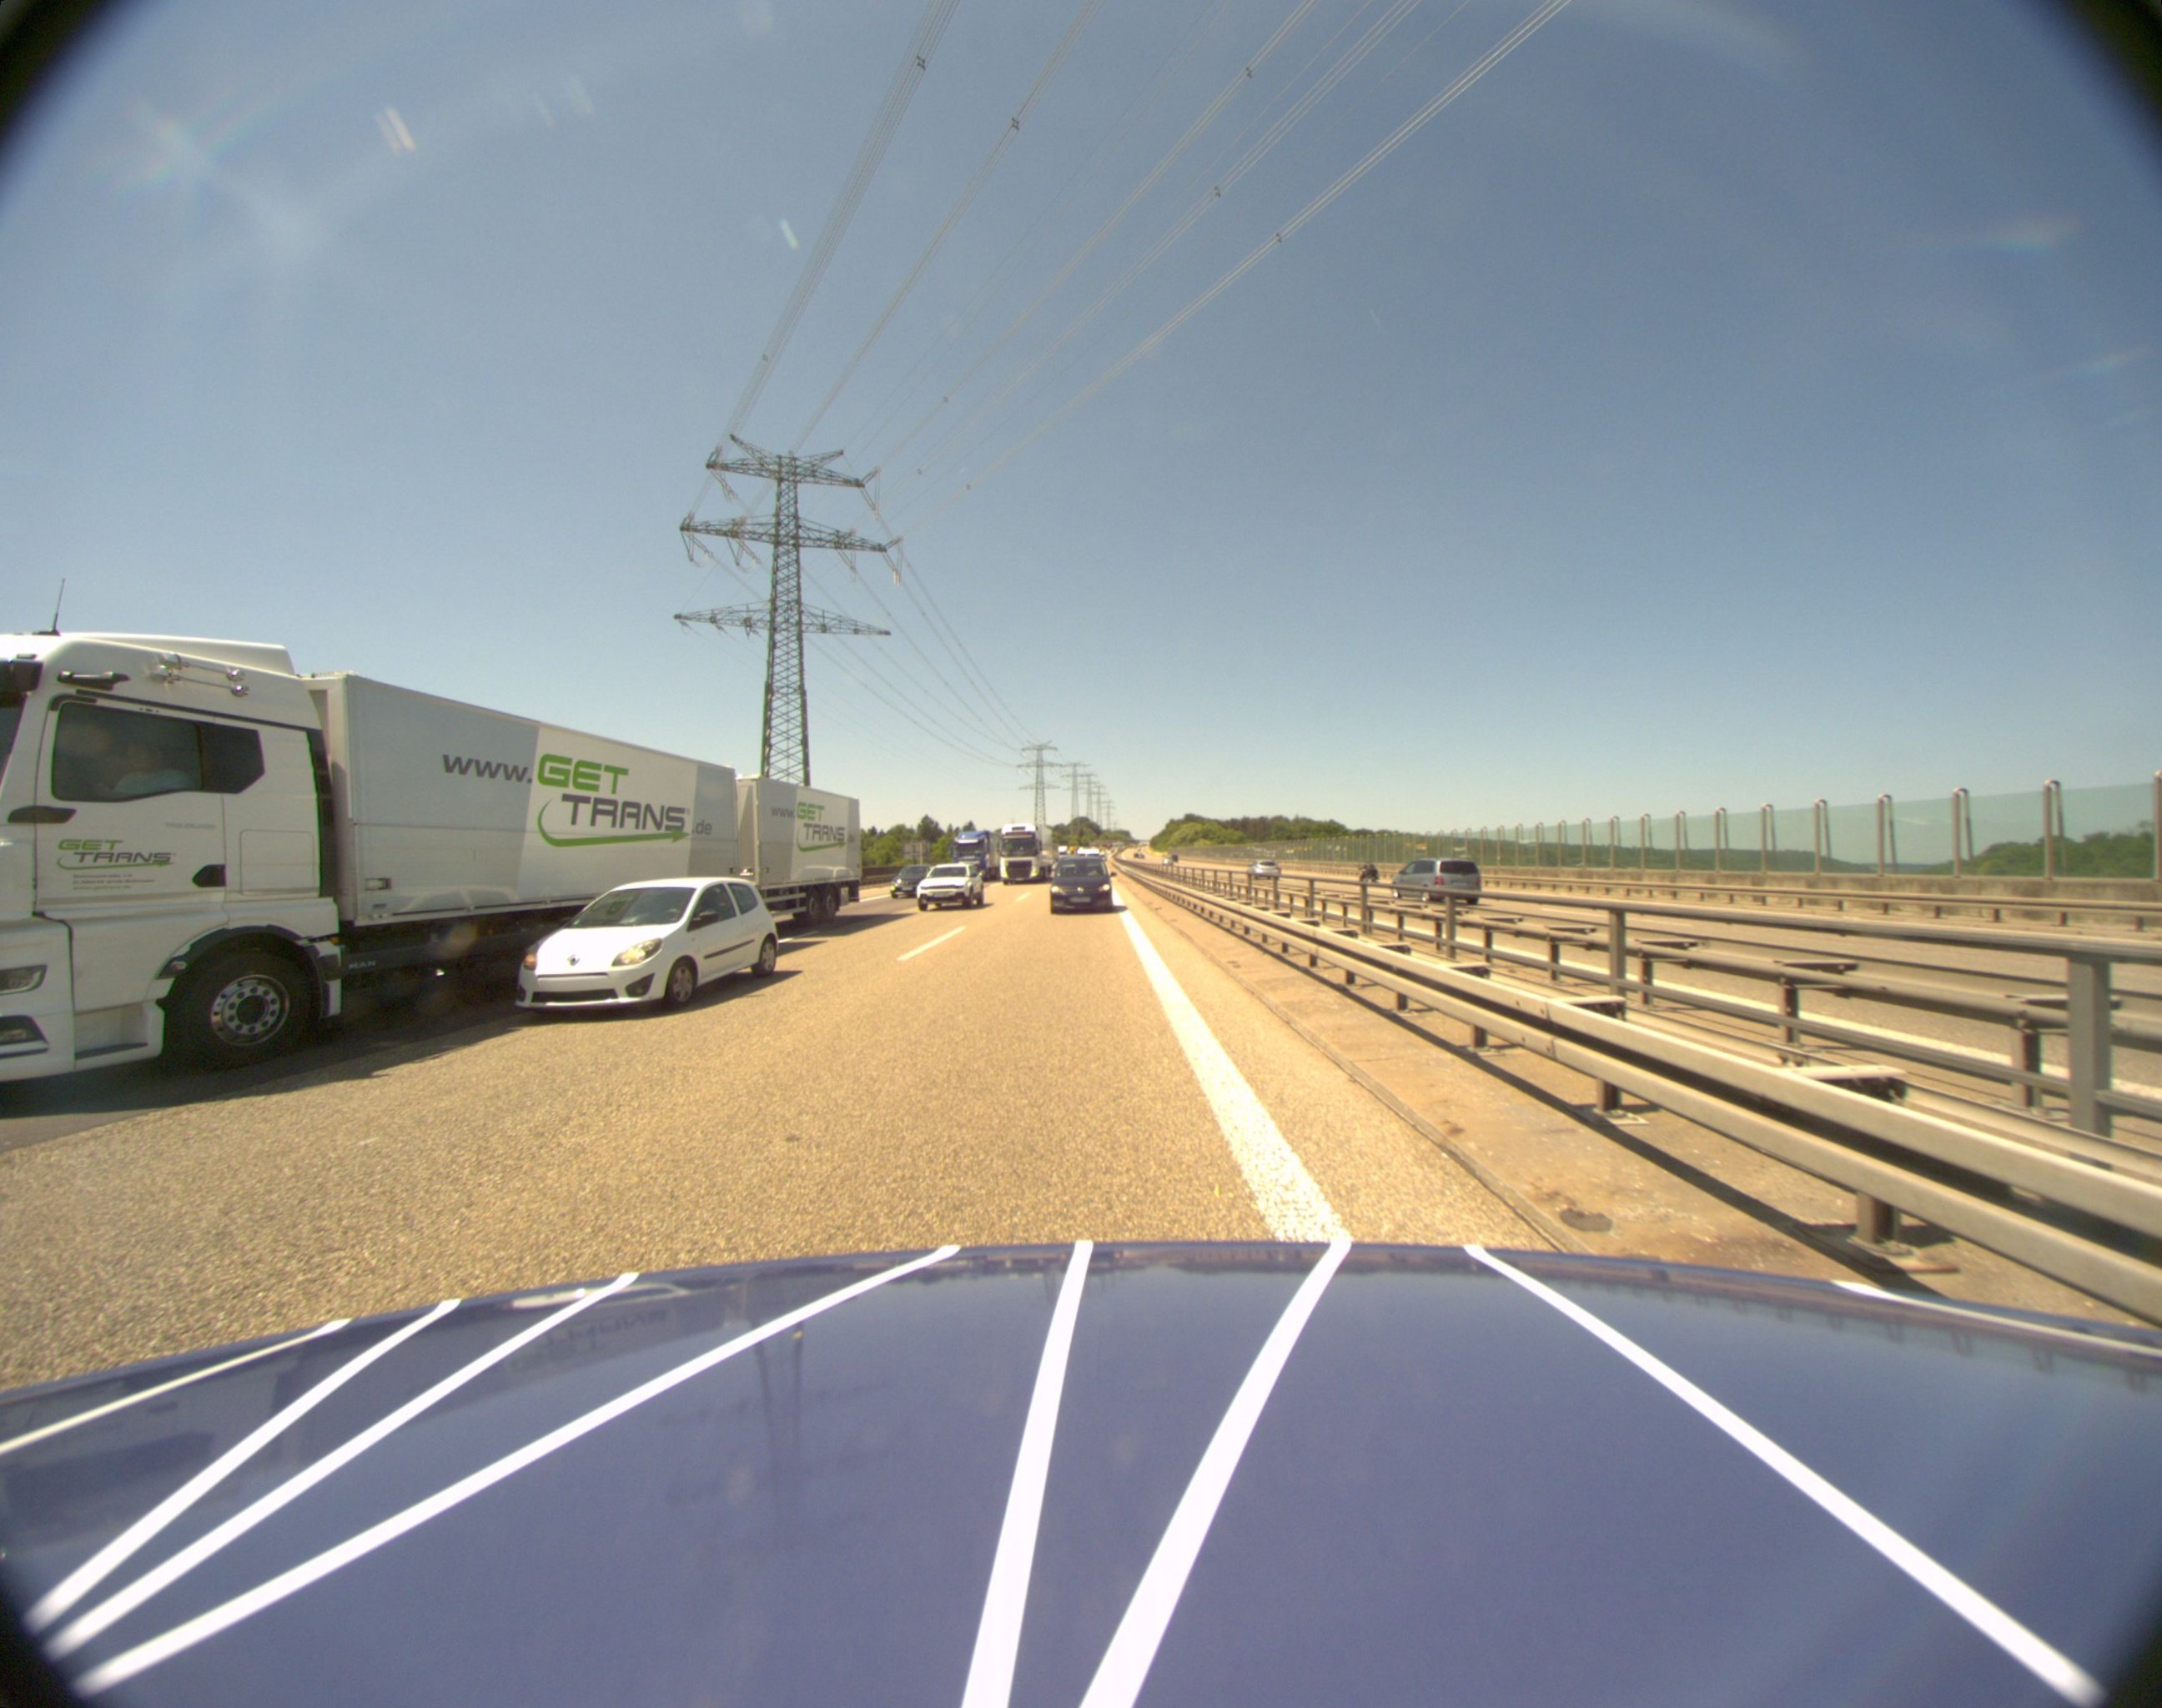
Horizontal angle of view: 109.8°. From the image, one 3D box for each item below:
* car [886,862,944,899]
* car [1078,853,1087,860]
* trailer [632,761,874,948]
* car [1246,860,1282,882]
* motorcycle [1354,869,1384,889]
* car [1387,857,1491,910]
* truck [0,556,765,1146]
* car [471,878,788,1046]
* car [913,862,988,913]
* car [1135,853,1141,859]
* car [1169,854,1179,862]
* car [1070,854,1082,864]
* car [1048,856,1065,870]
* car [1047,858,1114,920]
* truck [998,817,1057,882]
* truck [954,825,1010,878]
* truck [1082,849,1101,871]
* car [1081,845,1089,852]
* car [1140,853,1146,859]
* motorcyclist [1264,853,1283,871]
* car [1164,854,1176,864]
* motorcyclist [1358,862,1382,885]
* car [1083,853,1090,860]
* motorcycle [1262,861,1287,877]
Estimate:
[{"bbox_3d":[-7.906,1.241,36.627,1.821,1.568,4.000,-2,0,1],"label":"car"},{"bbox_3d":[0.400,0.627,172.381,1.821,1.568,4.000,-2,0,1],"label":"car"},{"bbox_3d":[-8.106,0.031,20.211,2.752,3.917,7.774,-2,0,2],"label":"trailer"},{"bbox_3d":[13.666,1.211,57.001,1.735,1.481,4.124,-2,0,1],"label":"car"},{"bbox_3d":[17.090,1.476,45.200,0.792,1.065,2.650,0,0,1],"label":"motorcycle"},{"bbox_3d":[12.655,0.995,27.140,1.786,1.692,4.154,0,0,1],"label":"car"},{"bbox_3d":[-8.342,0.043,10.635,2.695,3.907,11.299,-2,0,2],"label":"truck"},{"bbox_3d":[-5.299,1.159,9.602,1.659,1.501,3.825,-2,0,0],"label":"car"},{"bbox_3d":[-4.445,1.093,26.353,1.776,1.521,3.852,-2,0,2],"label":"car"},{"bbox_3d":[19.830,0.644,262.959,1.820,1.824,4.000,-2,0,0],"label":"car"},{"bbox_3d":[21.571,0.843,175.803,1.820,1.824,4.000,-2,0,1],"label":"car"},{"bbox_3d":[-0.798,0.819,124.689,1.821,1.568,4.000,-2,0,1],"label":"car"},{"bbox_3d":[-2.834,1.011,88.294,1.821,1.568,4.000,-2,0,1],"label":"car"},{"bbox_3d":[0.050,0.940,22.438,1.748,1.569,4.000,-2,0,2],"label":"car"},{"bbox_3d":[-3.627,-0.227,55.496,2.717,4.014,14.258,-2,-1,2],"label":"truck"},{"bbox_3d":[-7.826,-0.190,61.935,2.840,3.858,11.273,-2,0,1],"label":"truck"},{"bbox_3d":[1.450,0.775,101.166,2.309,2.789,5.110,-2,0,2],"label":"truck"},{"bbox_3d":[1.116,-1.477,212.718,1.998,2.002,4.000,-2,0,1],"label":"car"},{"bbox_3d":[19.710,0.715,241.635,1.820,1.824,4.000,-2,0,0],"label":"car"},{"bbox_3d":[18.418,0.752,72.717,1.379,1.675,1.133,-2,1,0],"label":"motorcyclist"},{"bbox_3d":[16.264,0.942,138.961,1.820,1.645,4.000,-2,0,1],"label":"car"},{"bbox_3d":[17.087,1.139,44.951,0.921,1.275,1.286,-2,0,1],"label":"motorcyclist"},{"bbox_3d":[1.380,0.538,189.180,1.821,1.568,4.000,-2,0,1],"label":"car"},{"bbox_3d":[18.447,1.412,72.615,1.490,1.468,3.383,0,0,0],"label":"motorcycle"}]
